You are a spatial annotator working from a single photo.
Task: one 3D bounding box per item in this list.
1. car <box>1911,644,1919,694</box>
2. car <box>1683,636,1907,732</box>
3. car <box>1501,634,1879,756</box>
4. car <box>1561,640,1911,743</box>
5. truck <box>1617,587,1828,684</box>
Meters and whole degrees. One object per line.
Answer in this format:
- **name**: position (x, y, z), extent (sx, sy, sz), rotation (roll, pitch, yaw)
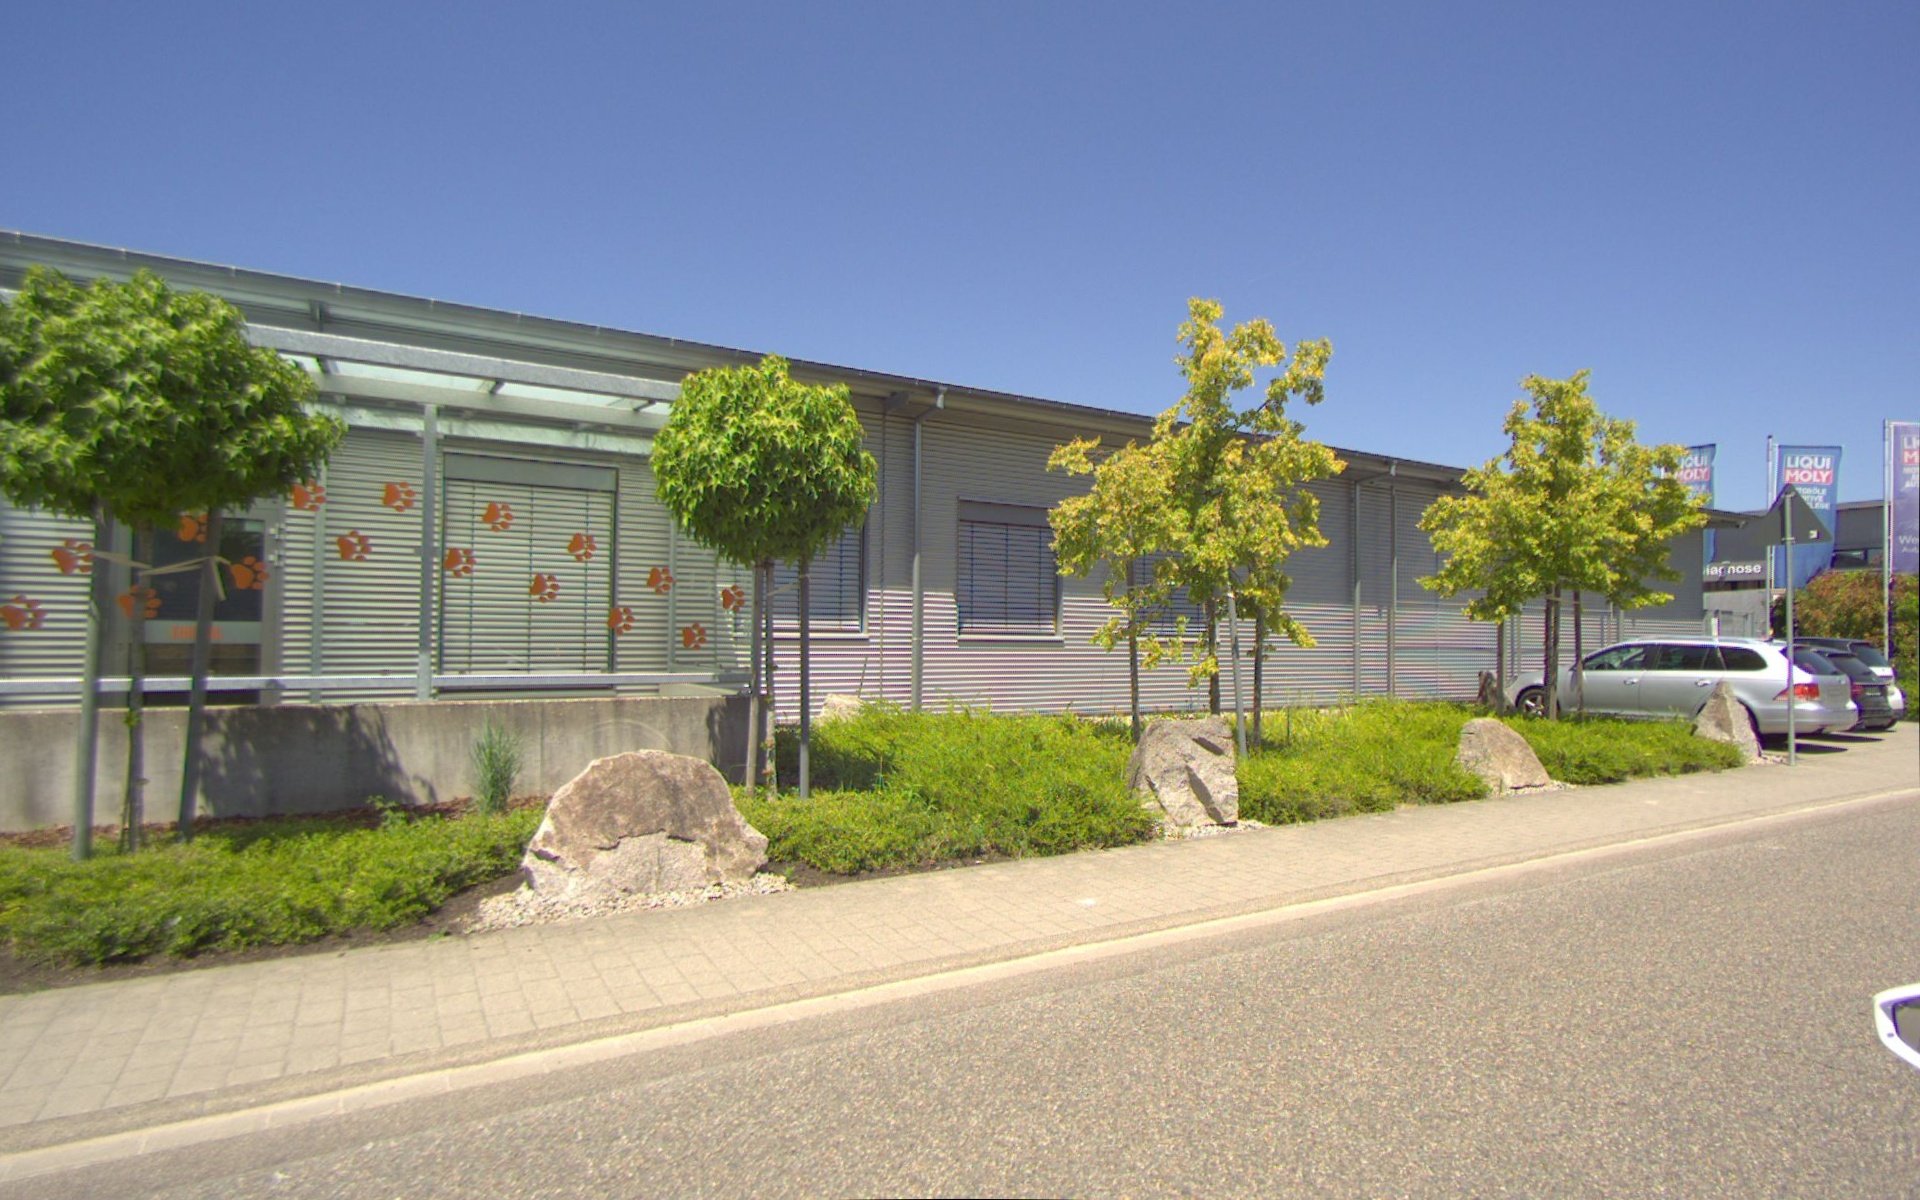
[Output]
- **car**: position (29.806, 2.051, 29.238), extent (4.715, 1.435, 1.921), rotation (2, -1, -31)
- **car**: position (14.757, 1.432, 17.857), extent (1.518, 1.538, 2.727), rotation (2, -2, -31)
- **car**: position (10.716, 1.295, 15.094), extent (1.845, 1.538, 4.241), rotation (2, -2, -31)
- **car**: position (12.738, 1.421, 16.814), extent (1.824, 1.450, 4.291), rotation (2, -2, -29)
- **truck**: position (31.396, 1.401, 41.912), extent (2.536, 3.604, 8.063), rotation (1, -1, -1)
